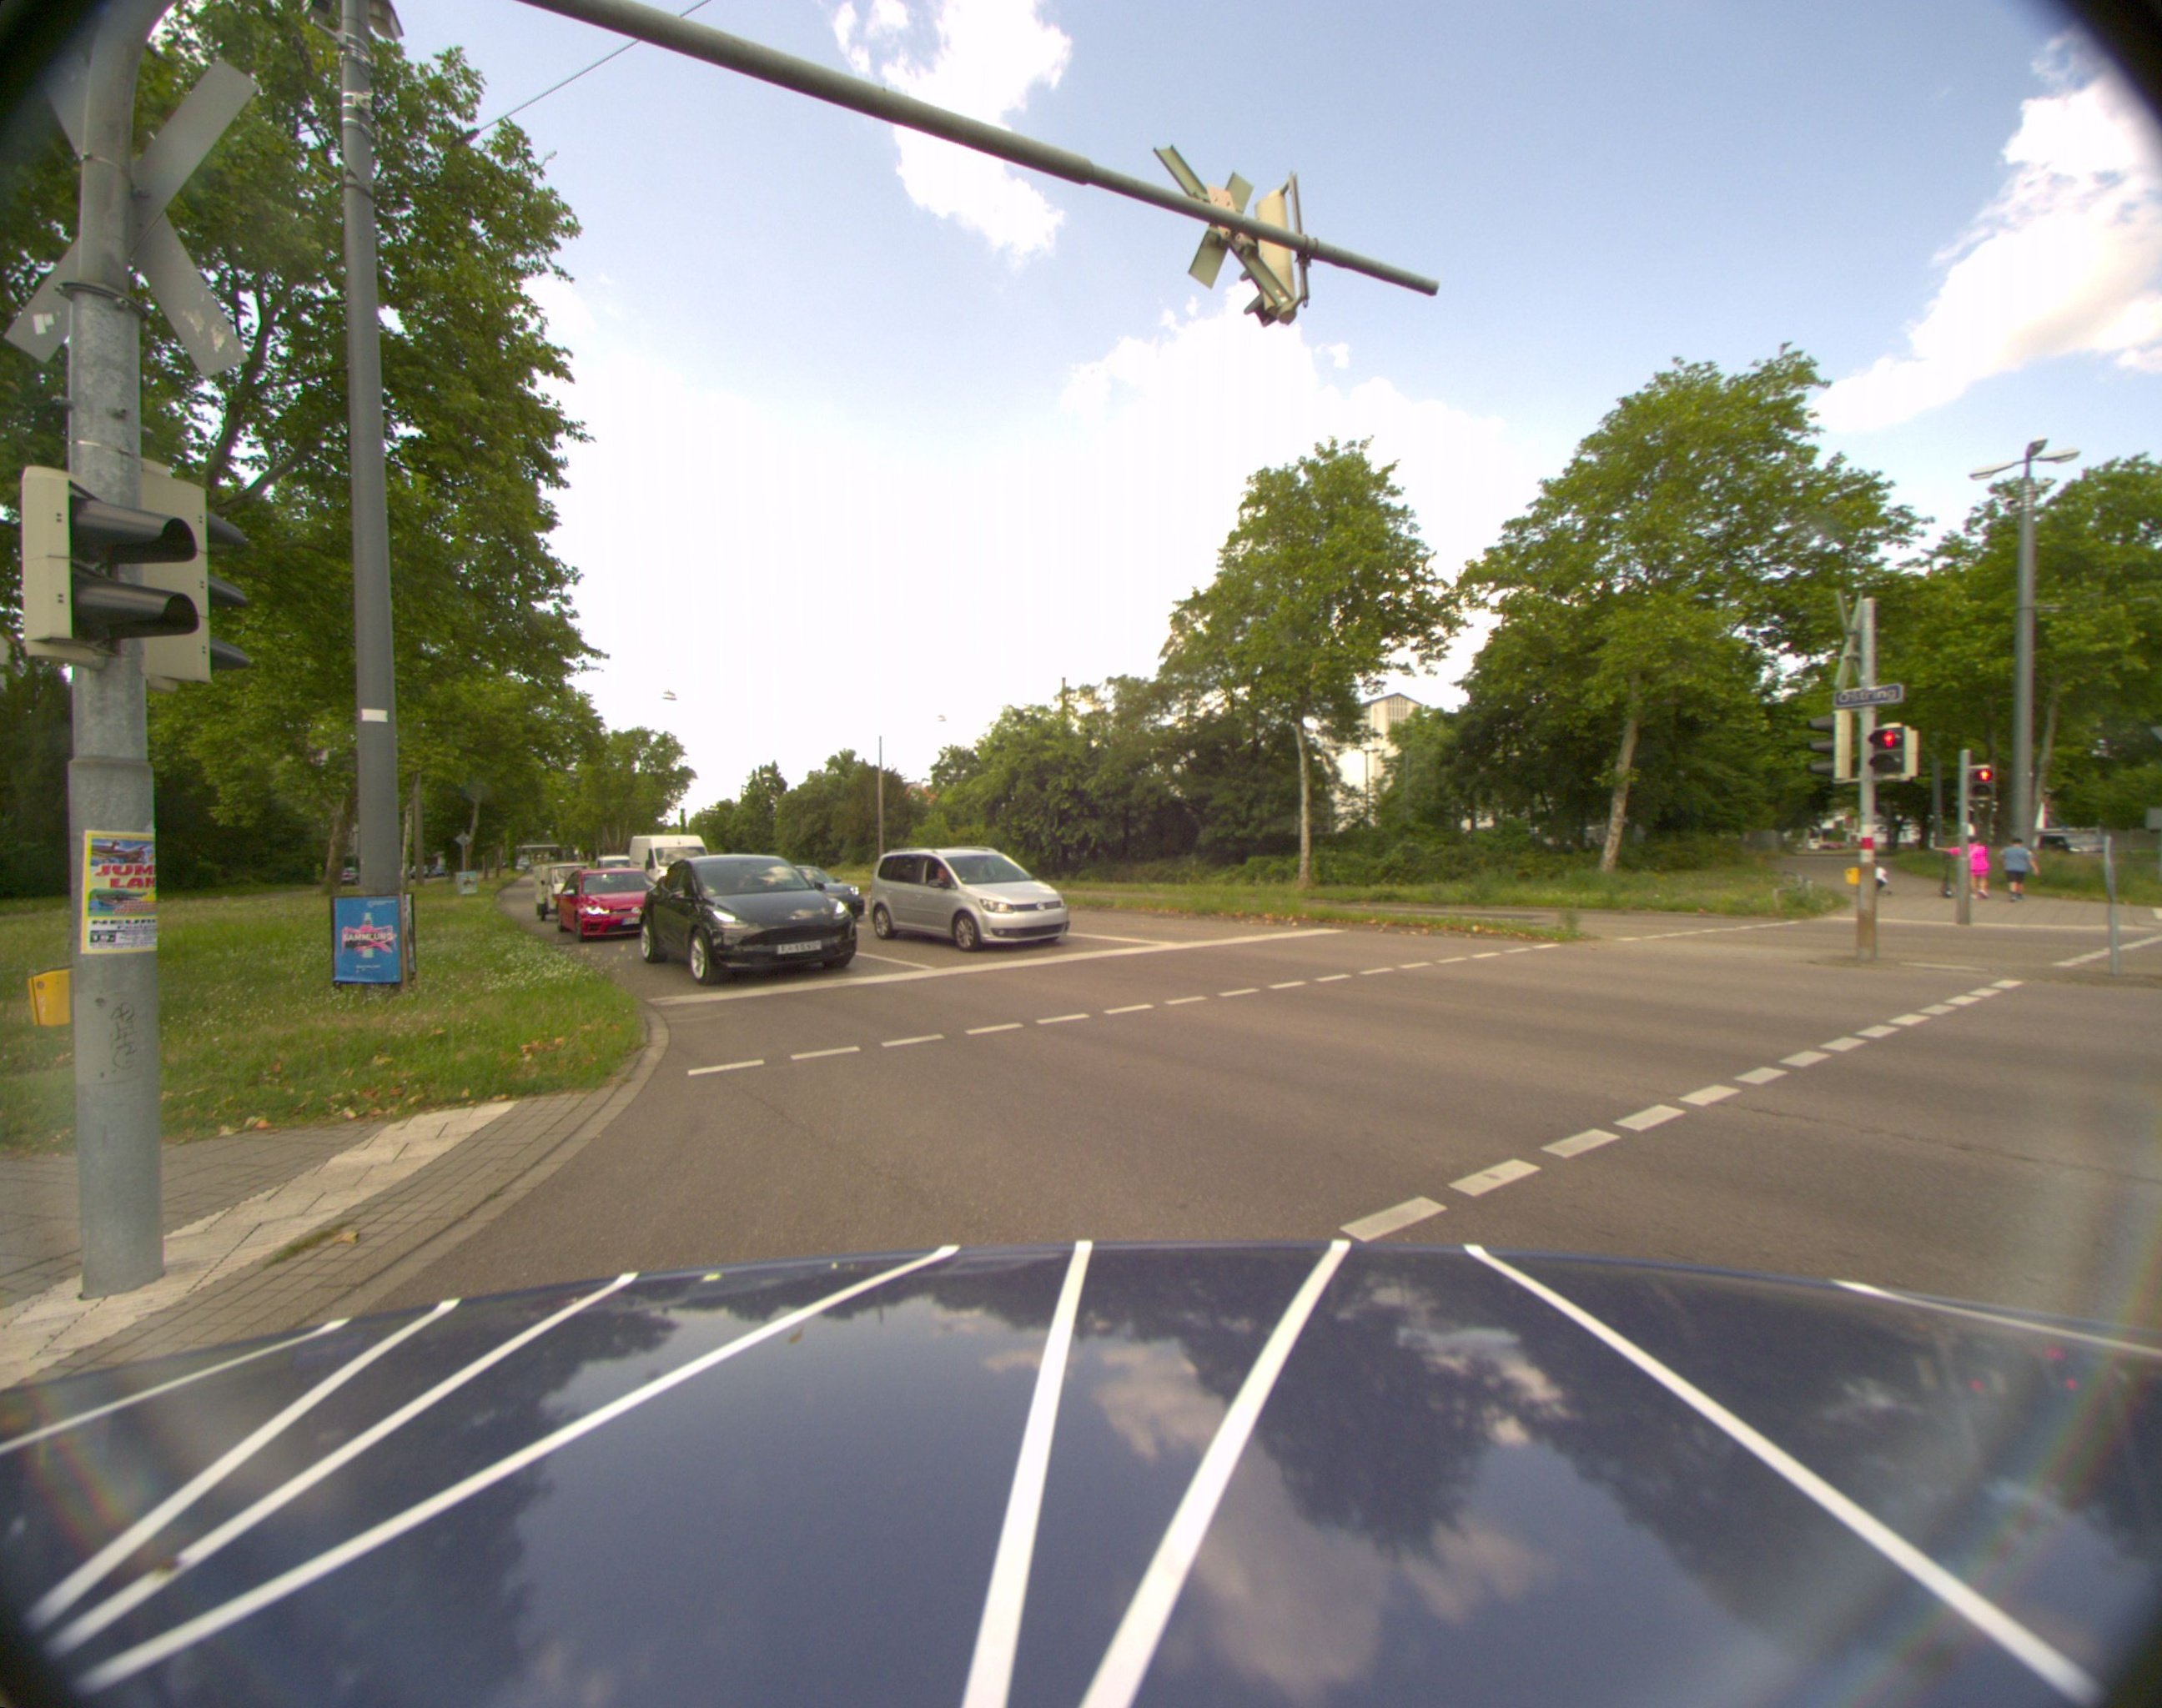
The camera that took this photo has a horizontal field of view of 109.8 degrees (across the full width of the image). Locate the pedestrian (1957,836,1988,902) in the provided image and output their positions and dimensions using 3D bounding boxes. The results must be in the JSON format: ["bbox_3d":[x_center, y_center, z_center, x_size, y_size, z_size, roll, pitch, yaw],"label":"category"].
[{"bbox_3d":[22.165,0.355,18.897,0.597,1.610,0.420,-2,1,-33],"label":"pedestrian"}]

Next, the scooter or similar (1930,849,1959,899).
[{"bbox_3d":[21.964,0.499,19.329,0.777,1.225,0.321,-2,-1,-31],"label":"scooter or similar"}]

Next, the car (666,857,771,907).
[{"bbox_3d":[-11.574,0.821,24.105,1.768,1.367,4.331,-4,2,-42],"label":"car"}]

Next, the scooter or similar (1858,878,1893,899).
[{"bbox_3d":[20.588,0.897,19.701,0.859,0.508,0.610,-1,-1,-44],"label":"scooter or similar"}]

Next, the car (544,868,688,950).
[{"bbox_3d":[-10.219,1.078,16.552,1.805,1.383,4.489,-4,2,-42],"label":"car"}]

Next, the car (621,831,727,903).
[{"bbox_3d":[-16.245,0.444,30.124,2.231,2.516,5.916,-4,2,-42],"label":"car"}]

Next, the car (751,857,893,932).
[{"bbox_3d":[-6.274,0.868,18.172,1.807,1.500,3.989,-4,3,-40],"label":"car"}]

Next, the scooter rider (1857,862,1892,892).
[{"bbox_3d":[20.567,0.594,19.697,0.861,0.724,0.610,-1,-1,-44],"label":"scooter rider"}]

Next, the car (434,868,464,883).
[{"bbox_3d":[-73.103,2.508,87.904,1.779,1.586,3.649,-2,-1,-26],"label":"car"}]

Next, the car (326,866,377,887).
[{"bbox_3d":[-57.304,1.787,59.744,1.779,1.586,3.649,-2,-1,-26],"label":"car"}]

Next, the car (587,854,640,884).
[{"bbox_3d":[-26.765,0.813,43.464,1.768,1.637,4.331,-1,1,-42],"label":"car"}]

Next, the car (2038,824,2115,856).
[{"bbox_3d":[69.840,-0.941,53.398,1.850,2.143,4.391,0,1,32],"label":"car"}]

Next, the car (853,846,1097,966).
[{"bbox_3d":[-1.994,0.752,13.156,1.934,1.643,4.489,-4,2,-42],"label":"car"}]

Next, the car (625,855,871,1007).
[{"bbox_3d":[-4.968,0.876,10.932,1.935,1.643,4.567,-4,2,-40],"label":"car"}]

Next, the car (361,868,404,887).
[{"bbox_3d":[-62.101,2.115,67.584,1.779,1.586,3.649,-2,-1,-26],"label":"car"}]

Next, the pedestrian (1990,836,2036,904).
[{"bbox_3d":[22.488,0.383,18.344,0.611,1.610,0.631,-2,1,-33],"label":"pedestrian"}]

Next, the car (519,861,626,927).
[{"bbox_3d":[-14.441,1.035,21.482,1.805,1.561,4.489,-4,2,-42],"label":"car"}]

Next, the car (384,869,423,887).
[{"bbox_3d":[-63.715,2.251,71.521,1.779,1.586,3.649,-2,-1,-26],"label":"car"}]
